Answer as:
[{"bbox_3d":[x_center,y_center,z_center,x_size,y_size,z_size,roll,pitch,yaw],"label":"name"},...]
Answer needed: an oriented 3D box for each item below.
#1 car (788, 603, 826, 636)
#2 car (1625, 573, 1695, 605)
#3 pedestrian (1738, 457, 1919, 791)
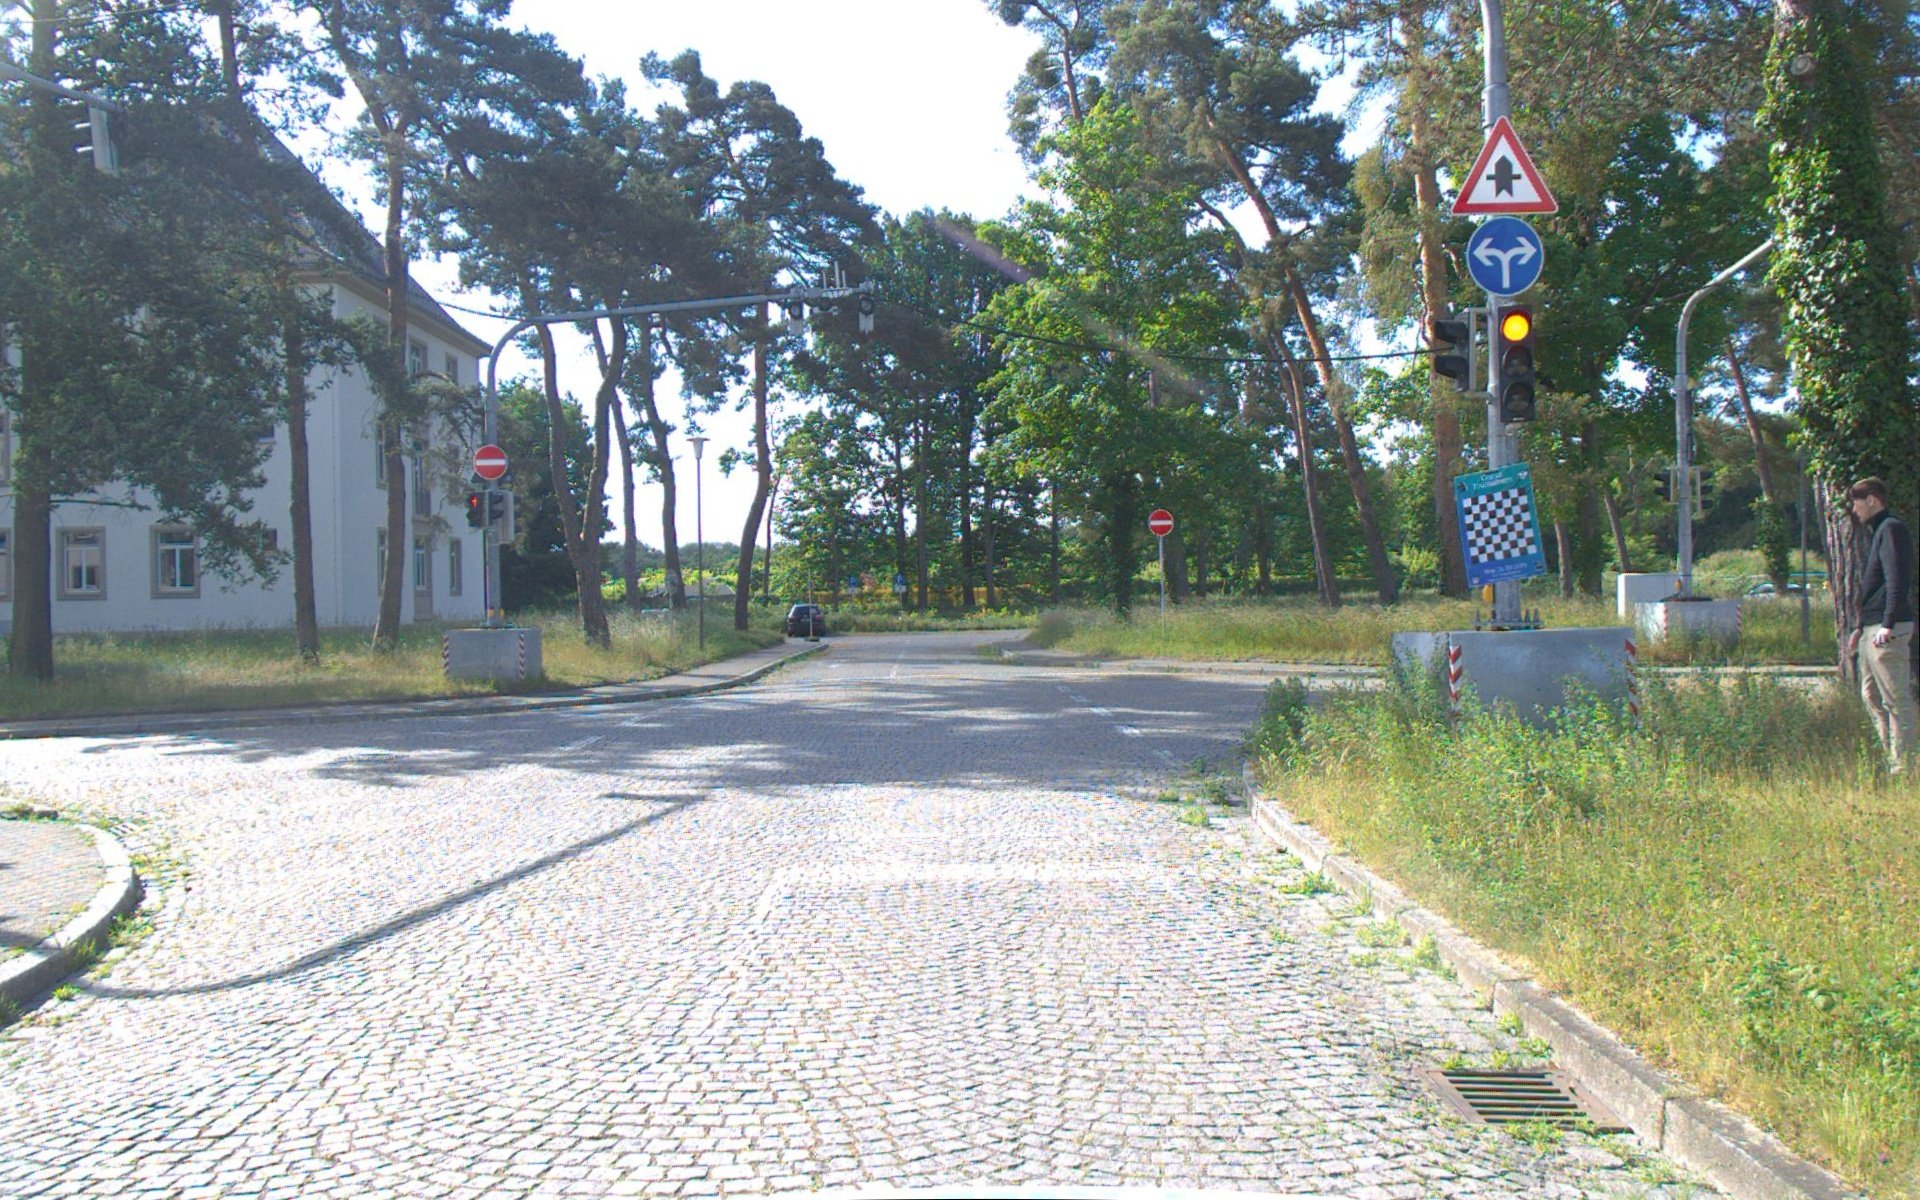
[{"bbox_3d":[-7.423,0.939,80.282,1.676,1.522,3.916,-2,0,-4],"label":"car"},{"bbox_3d":[36.949,-0.592,87.381,1.790,1.609,4.161,-2,0,-1],"label":"car"},{"bbox_3d":[5.457,0.120,9.752,1.041,1.827,1.167,-2,0,-14],"label":"pedestrian"}]
